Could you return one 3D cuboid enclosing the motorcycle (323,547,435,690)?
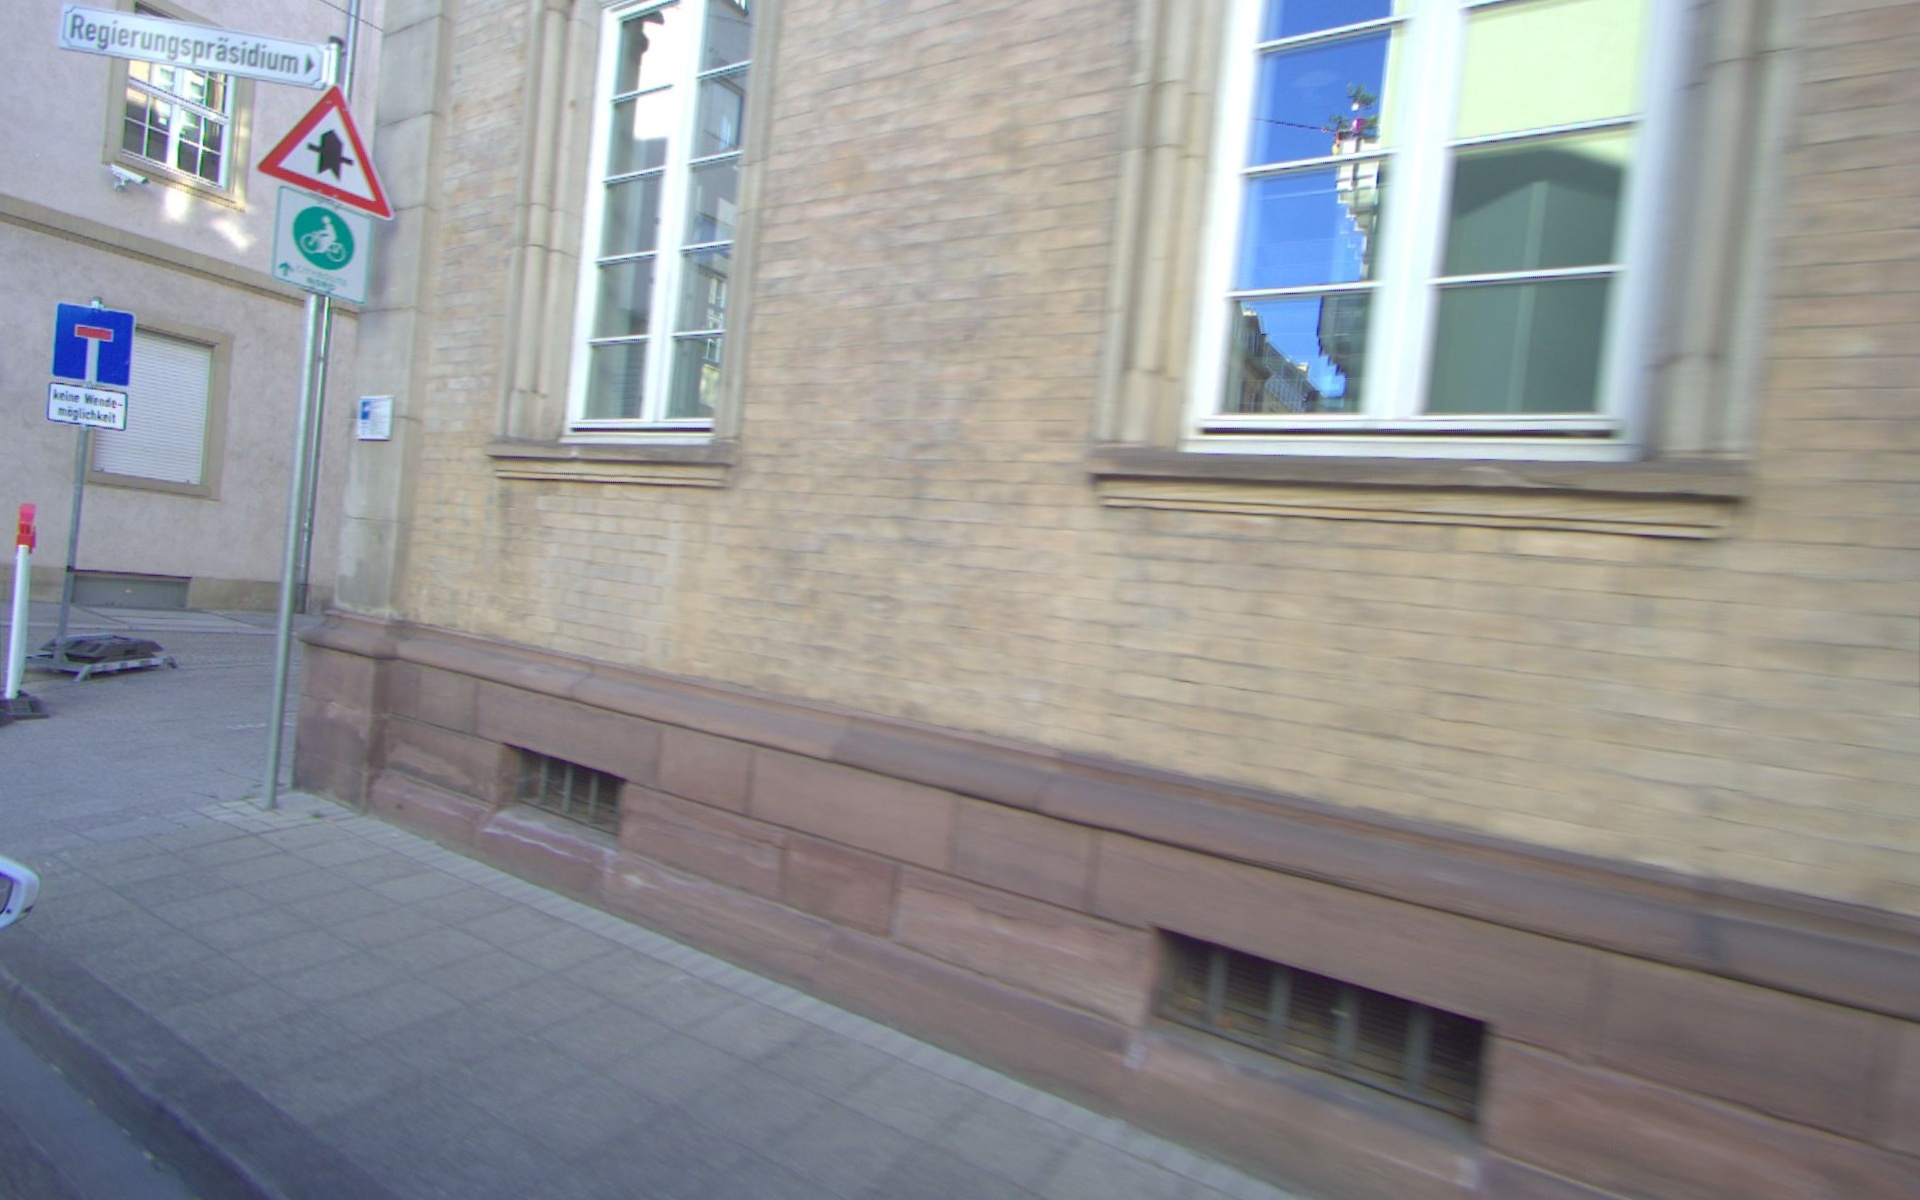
[{"bbox_3d":[-5.836,0.145,10.207,0.662,1.259,2.178,5,0,-24],"label":"motorcycle"}]
